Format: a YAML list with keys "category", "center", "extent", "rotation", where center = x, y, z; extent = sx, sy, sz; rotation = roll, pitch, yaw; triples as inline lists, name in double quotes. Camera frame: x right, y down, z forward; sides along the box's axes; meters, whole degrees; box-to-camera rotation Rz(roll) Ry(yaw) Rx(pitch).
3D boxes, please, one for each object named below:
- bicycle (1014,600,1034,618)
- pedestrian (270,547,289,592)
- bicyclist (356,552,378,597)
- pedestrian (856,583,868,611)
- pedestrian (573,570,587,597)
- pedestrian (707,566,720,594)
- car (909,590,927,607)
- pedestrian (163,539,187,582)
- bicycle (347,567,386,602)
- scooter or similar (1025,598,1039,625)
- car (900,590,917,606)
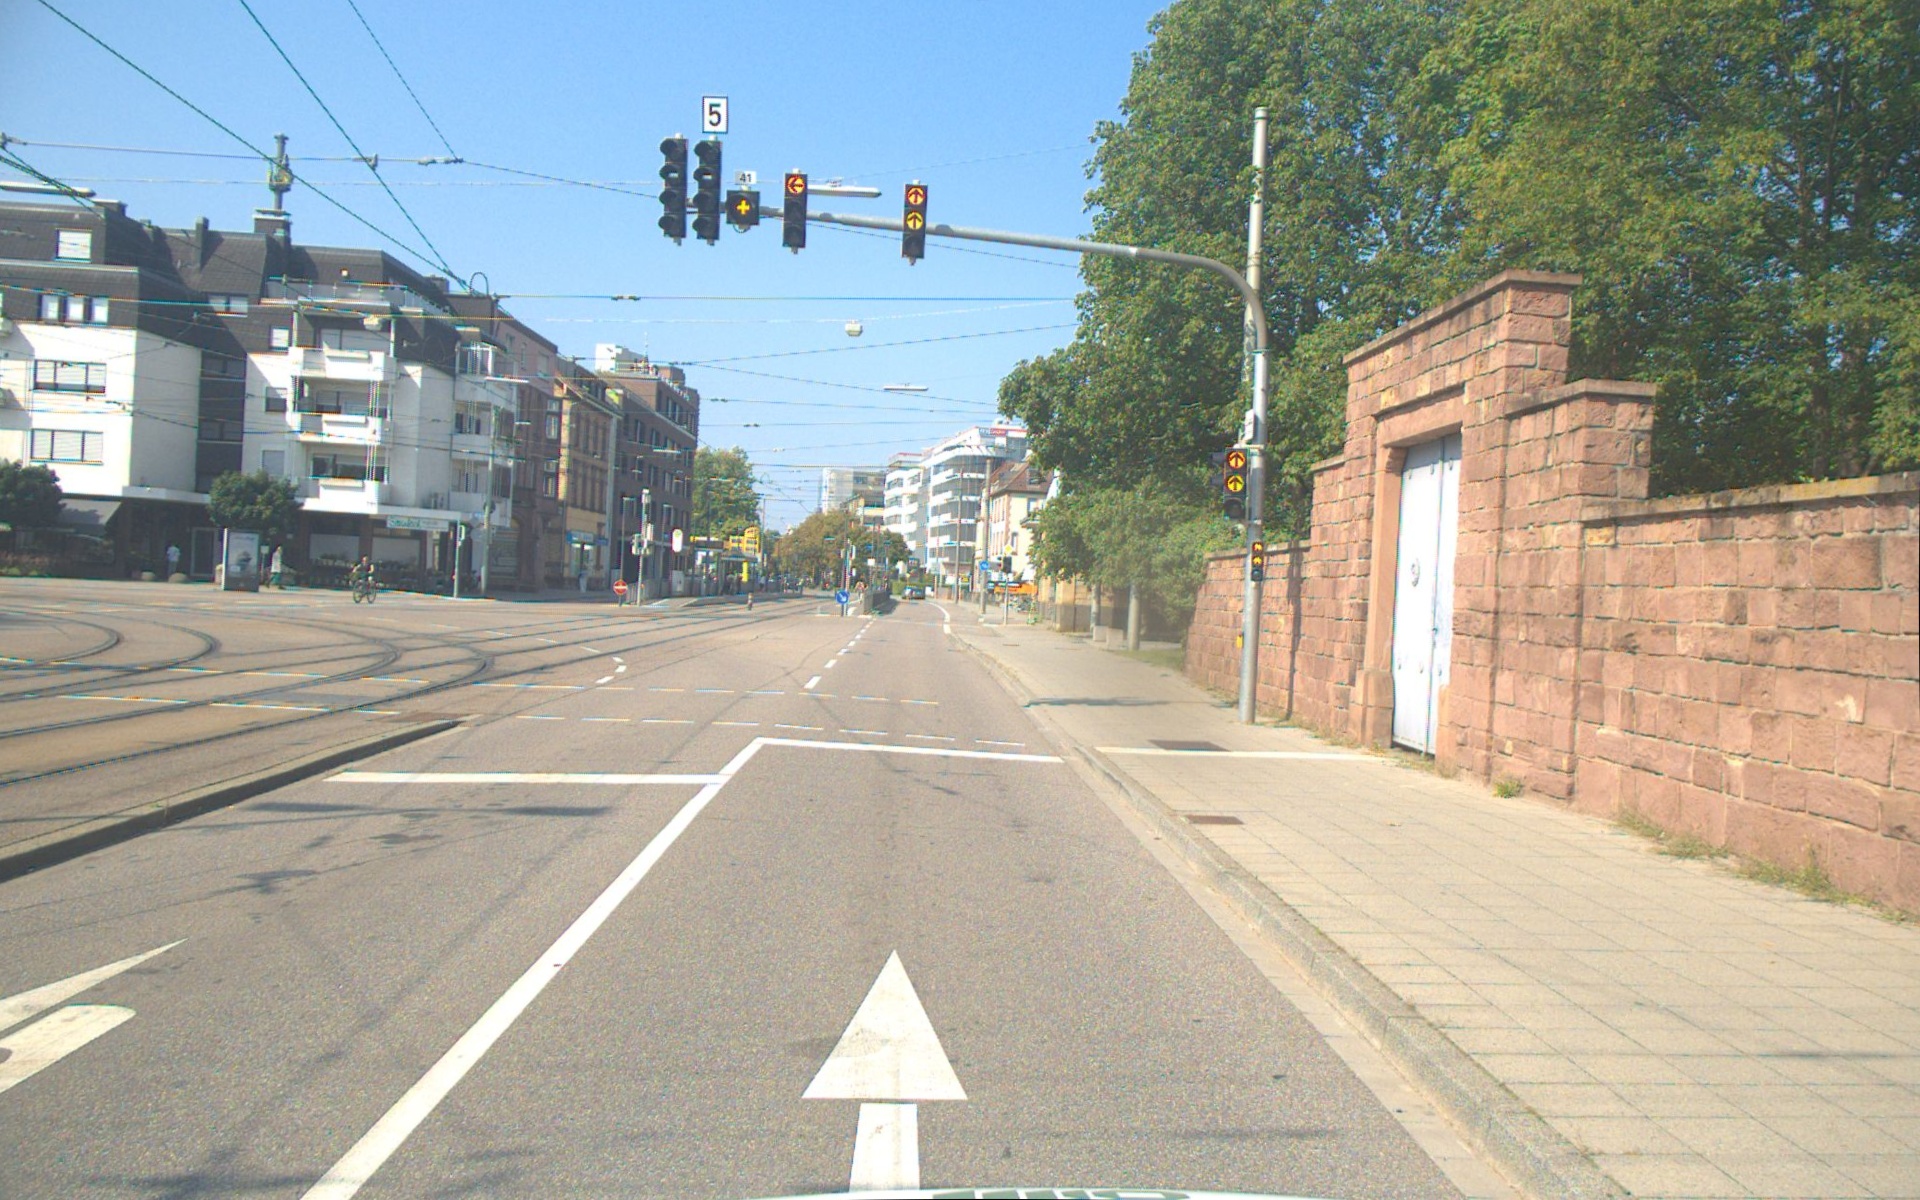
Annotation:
- category: "bicycle"
  center: [4.126, 0.567, 106.916]
  extent: [0.717, 1.152, 2.834]
  rotation: [-1, 0, -8]
- category: "pedestrian"
  center: [-27.742, -1.240, 67.395]
  extent: [0.593, 1.776, 0.559]
  rotation: [1, 0, -35]
- category: "bicyclist"
  center: [-20.718, -0.899, 57.770]
  extent: [0.556, 1.549, 0.490]
  rotation: [1, 0, 0]
- category: "pedestrian"
  center: [-6.041, -0.177, 101.966]
  extent: [0.705, 1.733, 0.884]
  rotation: [1, 0, -1]
- category: "pedestrian"
  center: [-23.662, -1.028, 102.957]
  extent: [0.473, 1.587, 0.888]
  rotation: [4, -1, 9]
- category: "pedestrian"
  center: [-15.634, -1.273, 104.740]
  extent: [0.693, 1.753, 0.799]
  rotation: [1, 0, -1]
- category: "car"
  center: [-4.967, -0.163, 196.135]
  extent: [1.970, 1.891, 4.000]
  rotation: [1, 0, 0]
- category: "pedestrian"
  center: [-32.997, -1.660, 69.532]
  extent: [0.665, 1.771, 0.698]
  rotation: [1, 0, 0]
- category: "bicycle"
  center: [-20.725, -0.540, 57.789]
  extent: [0.563, 1.200, 2.208]
  rotation: [1, 1, 0]
- category: "scooter or similar"
  center: [3.255, 0.515, 74.868]
  extent: [0.512, 1.153, 1.511]
  rotation: [1, 0, -1]
- category: "car"
  center: [-6.272, -0.259, 202.332]
  extent: [1.970, 1.891, 4.000]
  rotation: [1, 0, 0]
